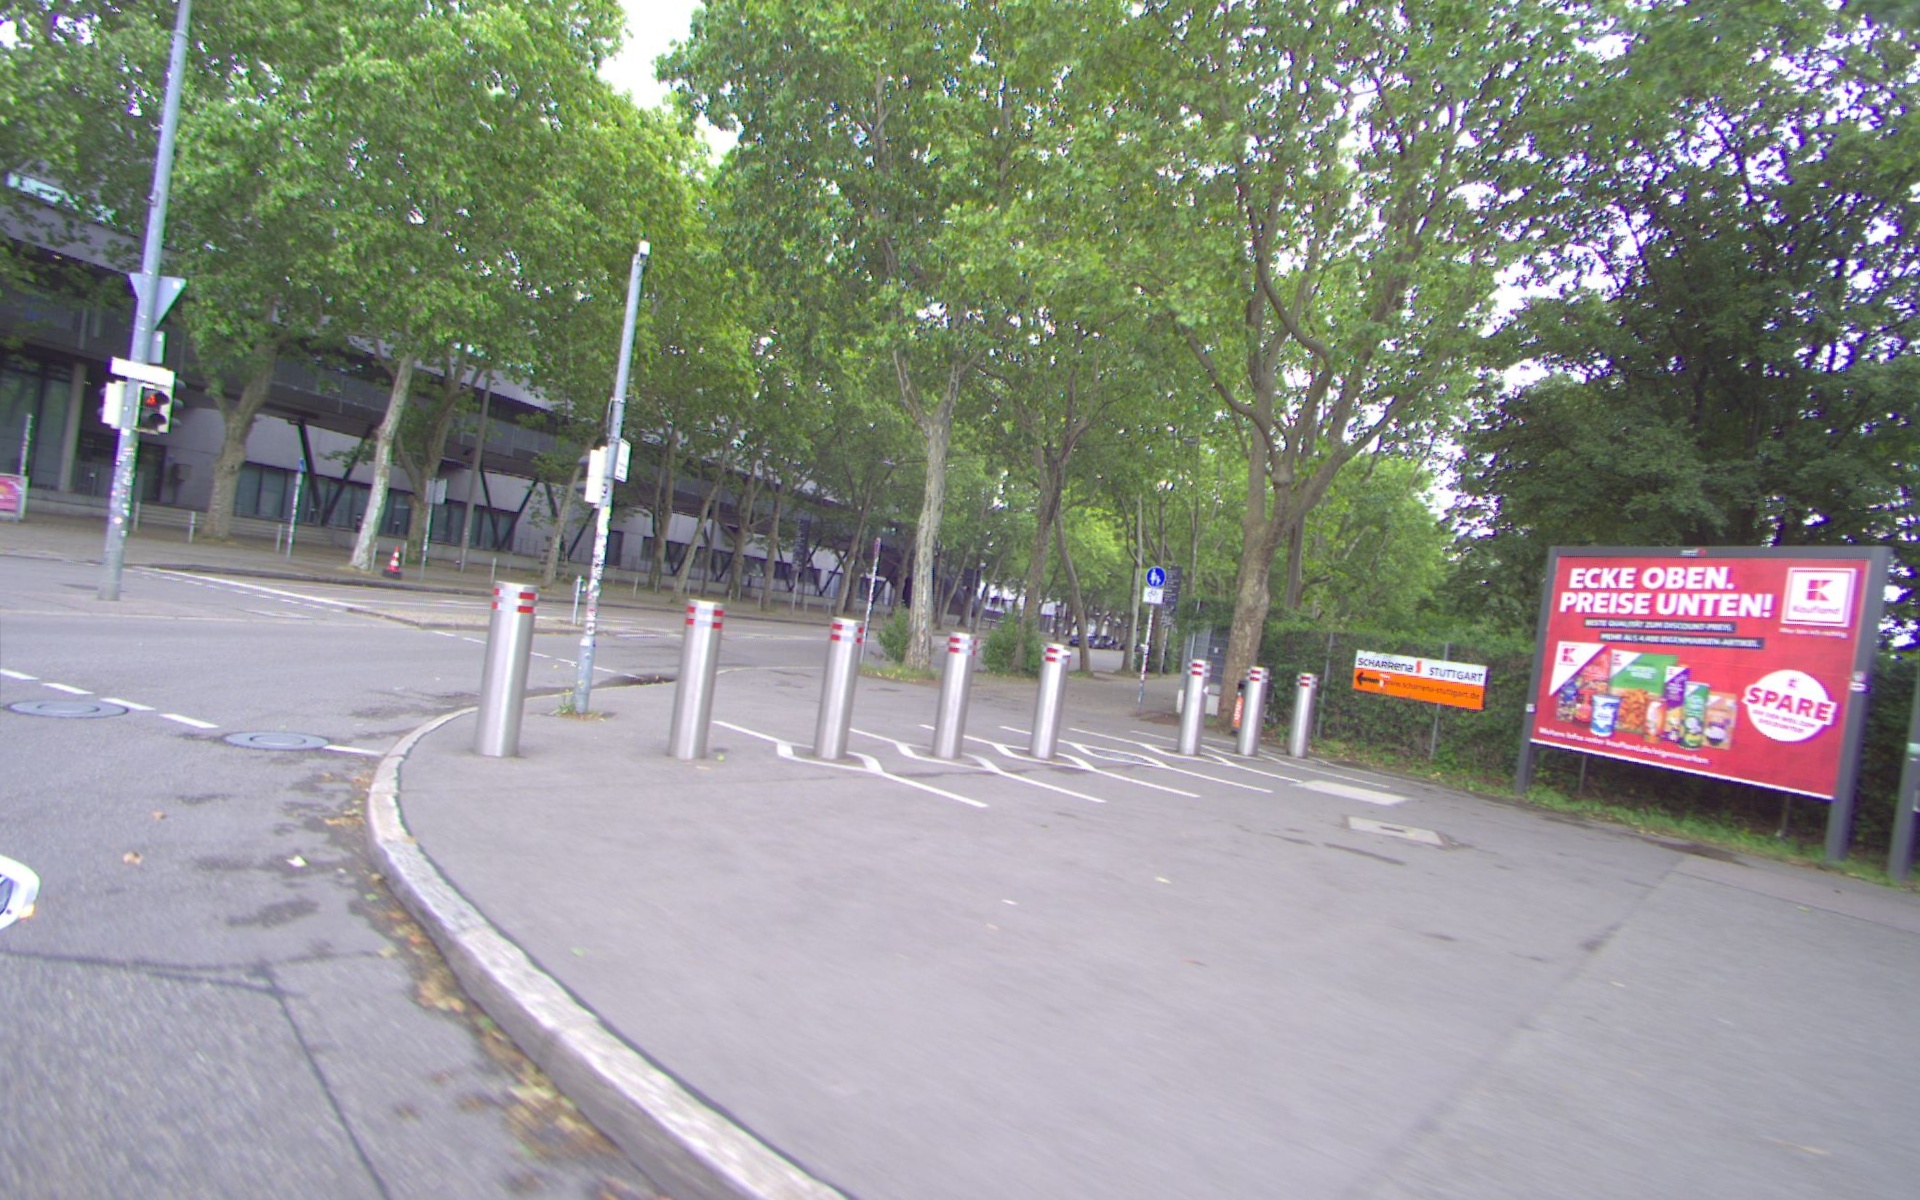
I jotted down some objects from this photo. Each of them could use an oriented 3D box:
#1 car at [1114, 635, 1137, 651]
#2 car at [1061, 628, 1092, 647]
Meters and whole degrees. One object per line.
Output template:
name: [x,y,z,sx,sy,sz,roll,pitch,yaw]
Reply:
car: [18.515,4.849,112.502,1.739,1.435,3.764,5,-3,22]
car: [10.961,3.561,94.453,1.671,1.435,3.760,5,-3,26]
